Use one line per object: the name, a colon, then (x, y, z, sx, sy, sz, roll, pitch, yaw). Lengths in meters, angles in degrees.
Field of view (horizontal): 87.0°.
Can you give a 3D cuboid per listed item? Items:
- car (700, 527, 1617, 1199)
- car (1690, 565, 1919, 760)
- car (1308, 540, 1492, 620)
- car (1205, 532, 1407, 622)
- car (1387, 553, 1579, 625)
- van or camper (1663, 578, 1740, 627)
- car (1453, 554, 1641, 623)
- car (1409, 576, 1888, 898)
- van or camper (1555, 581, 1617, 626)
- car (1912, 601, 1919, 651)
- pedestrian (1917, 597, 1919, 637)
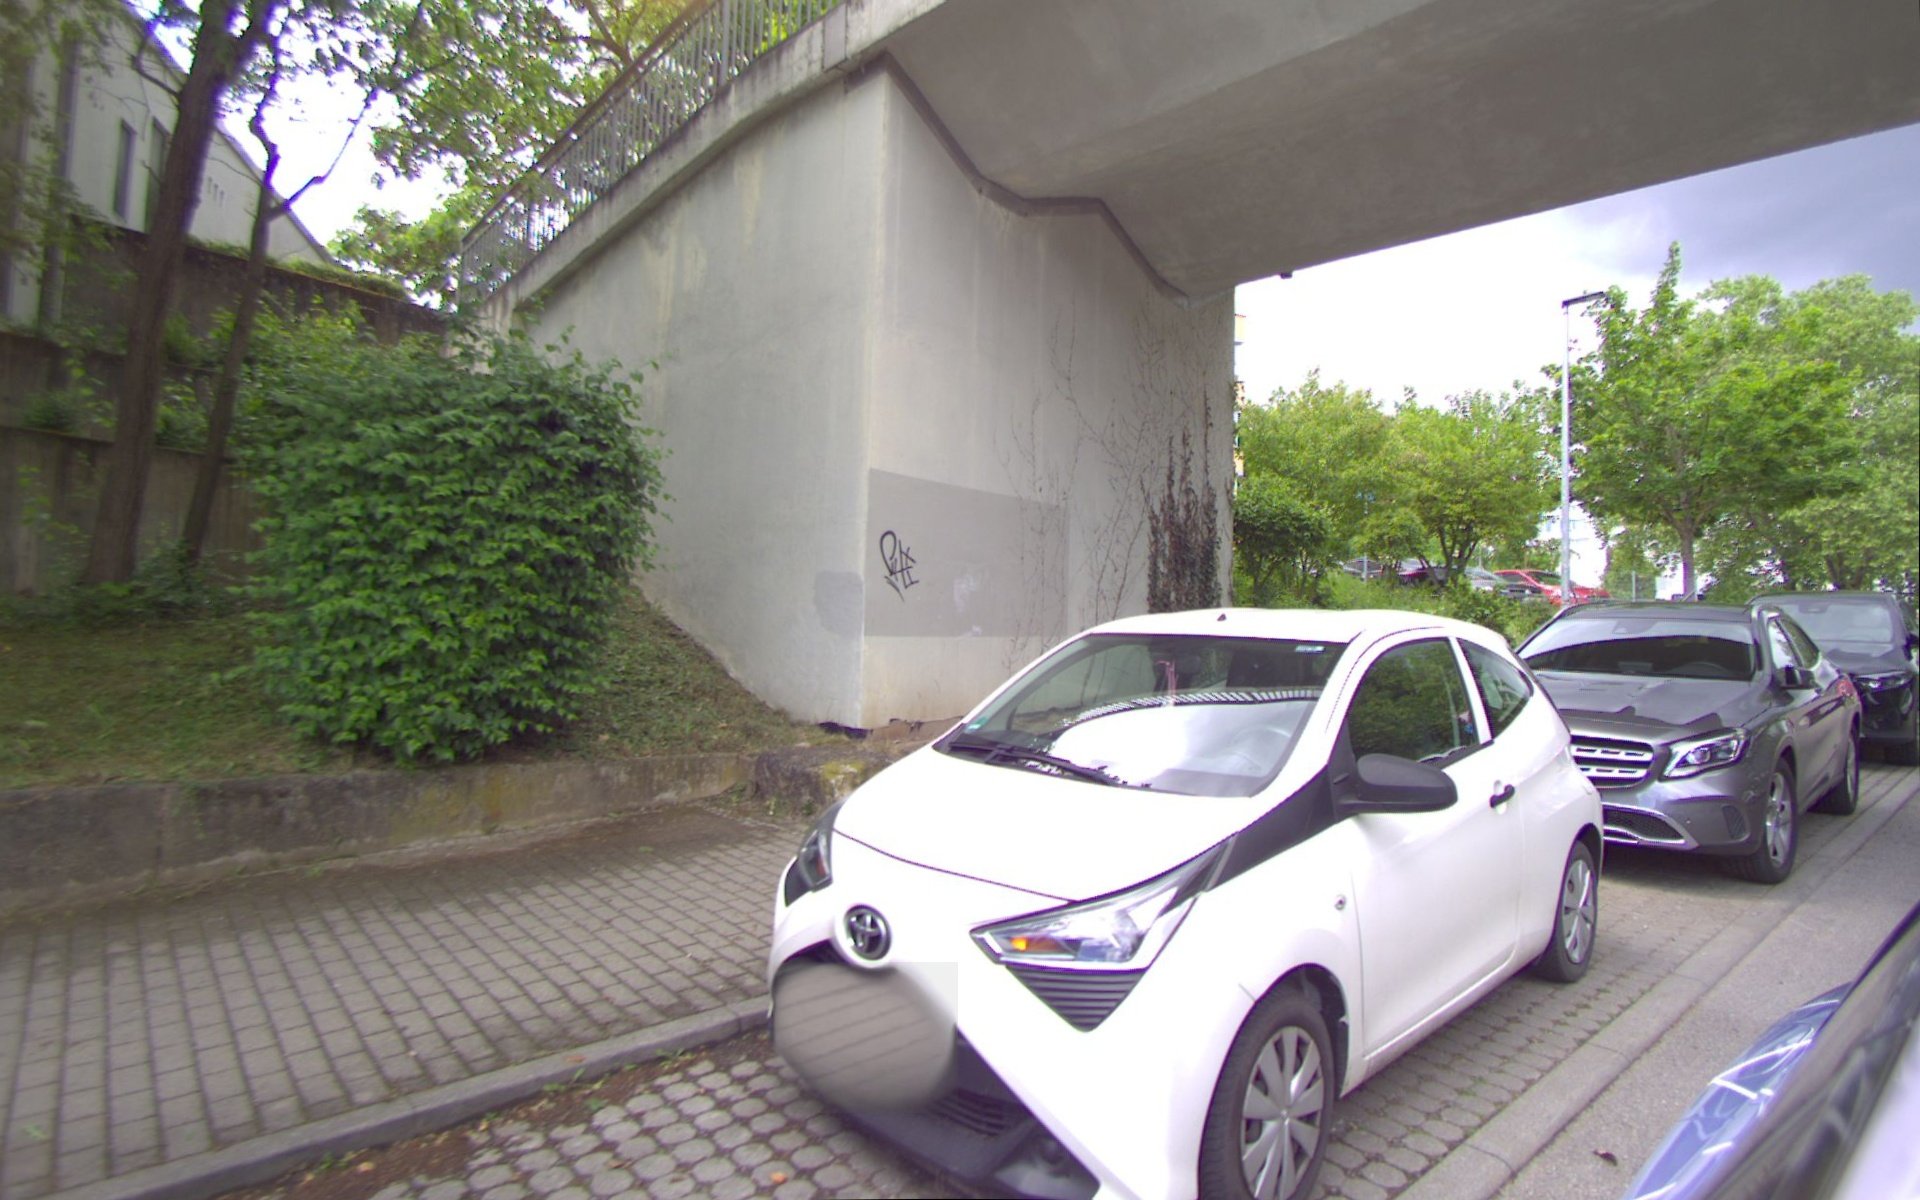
car: (0.947, 0.627, 3.584, 3.274, 1.515, 1.564, 1, 0, -43)
car: (9.425, 0.562, 10.809, 4.295, 1.699, 1.816, 1, 0, -43)
car: (9.466, -0.358, 22.104, 1.649, 1.517, 3.668, 1, -2, -18)
car: (7.138, -0.394, 21.315, 1.903, 1.635, 4.006, 1, -2, -21)
car: (11.762, -0.175, 23.055, 1.649, 1.440, 3.806, 1, -2, -18)
van or camper: (45.487, 0.188, 62.200, 2.083, 2.835, 4.461, 0, -2, 13)
car: (13.861, -0.198, 24.141, 1.649, 1.458, 3.668, 1, -2, -18)
car: (4.762, 0.649, 6.760, 4.047, 1.515, 1.702, 0, 0, -41)
van or camper: (41.242, 0.293, 66.796, 2.083, 2.835, 4.461, 0, -2, 13)
car: (31.385, 0.826, 31.643, 3.926, 1.535, 1.758, 2, -3, -38)
pedestrian: (40.310, 0.712, 41.869, 0.580, 1.678, 0.873, 1, -3, -25)
